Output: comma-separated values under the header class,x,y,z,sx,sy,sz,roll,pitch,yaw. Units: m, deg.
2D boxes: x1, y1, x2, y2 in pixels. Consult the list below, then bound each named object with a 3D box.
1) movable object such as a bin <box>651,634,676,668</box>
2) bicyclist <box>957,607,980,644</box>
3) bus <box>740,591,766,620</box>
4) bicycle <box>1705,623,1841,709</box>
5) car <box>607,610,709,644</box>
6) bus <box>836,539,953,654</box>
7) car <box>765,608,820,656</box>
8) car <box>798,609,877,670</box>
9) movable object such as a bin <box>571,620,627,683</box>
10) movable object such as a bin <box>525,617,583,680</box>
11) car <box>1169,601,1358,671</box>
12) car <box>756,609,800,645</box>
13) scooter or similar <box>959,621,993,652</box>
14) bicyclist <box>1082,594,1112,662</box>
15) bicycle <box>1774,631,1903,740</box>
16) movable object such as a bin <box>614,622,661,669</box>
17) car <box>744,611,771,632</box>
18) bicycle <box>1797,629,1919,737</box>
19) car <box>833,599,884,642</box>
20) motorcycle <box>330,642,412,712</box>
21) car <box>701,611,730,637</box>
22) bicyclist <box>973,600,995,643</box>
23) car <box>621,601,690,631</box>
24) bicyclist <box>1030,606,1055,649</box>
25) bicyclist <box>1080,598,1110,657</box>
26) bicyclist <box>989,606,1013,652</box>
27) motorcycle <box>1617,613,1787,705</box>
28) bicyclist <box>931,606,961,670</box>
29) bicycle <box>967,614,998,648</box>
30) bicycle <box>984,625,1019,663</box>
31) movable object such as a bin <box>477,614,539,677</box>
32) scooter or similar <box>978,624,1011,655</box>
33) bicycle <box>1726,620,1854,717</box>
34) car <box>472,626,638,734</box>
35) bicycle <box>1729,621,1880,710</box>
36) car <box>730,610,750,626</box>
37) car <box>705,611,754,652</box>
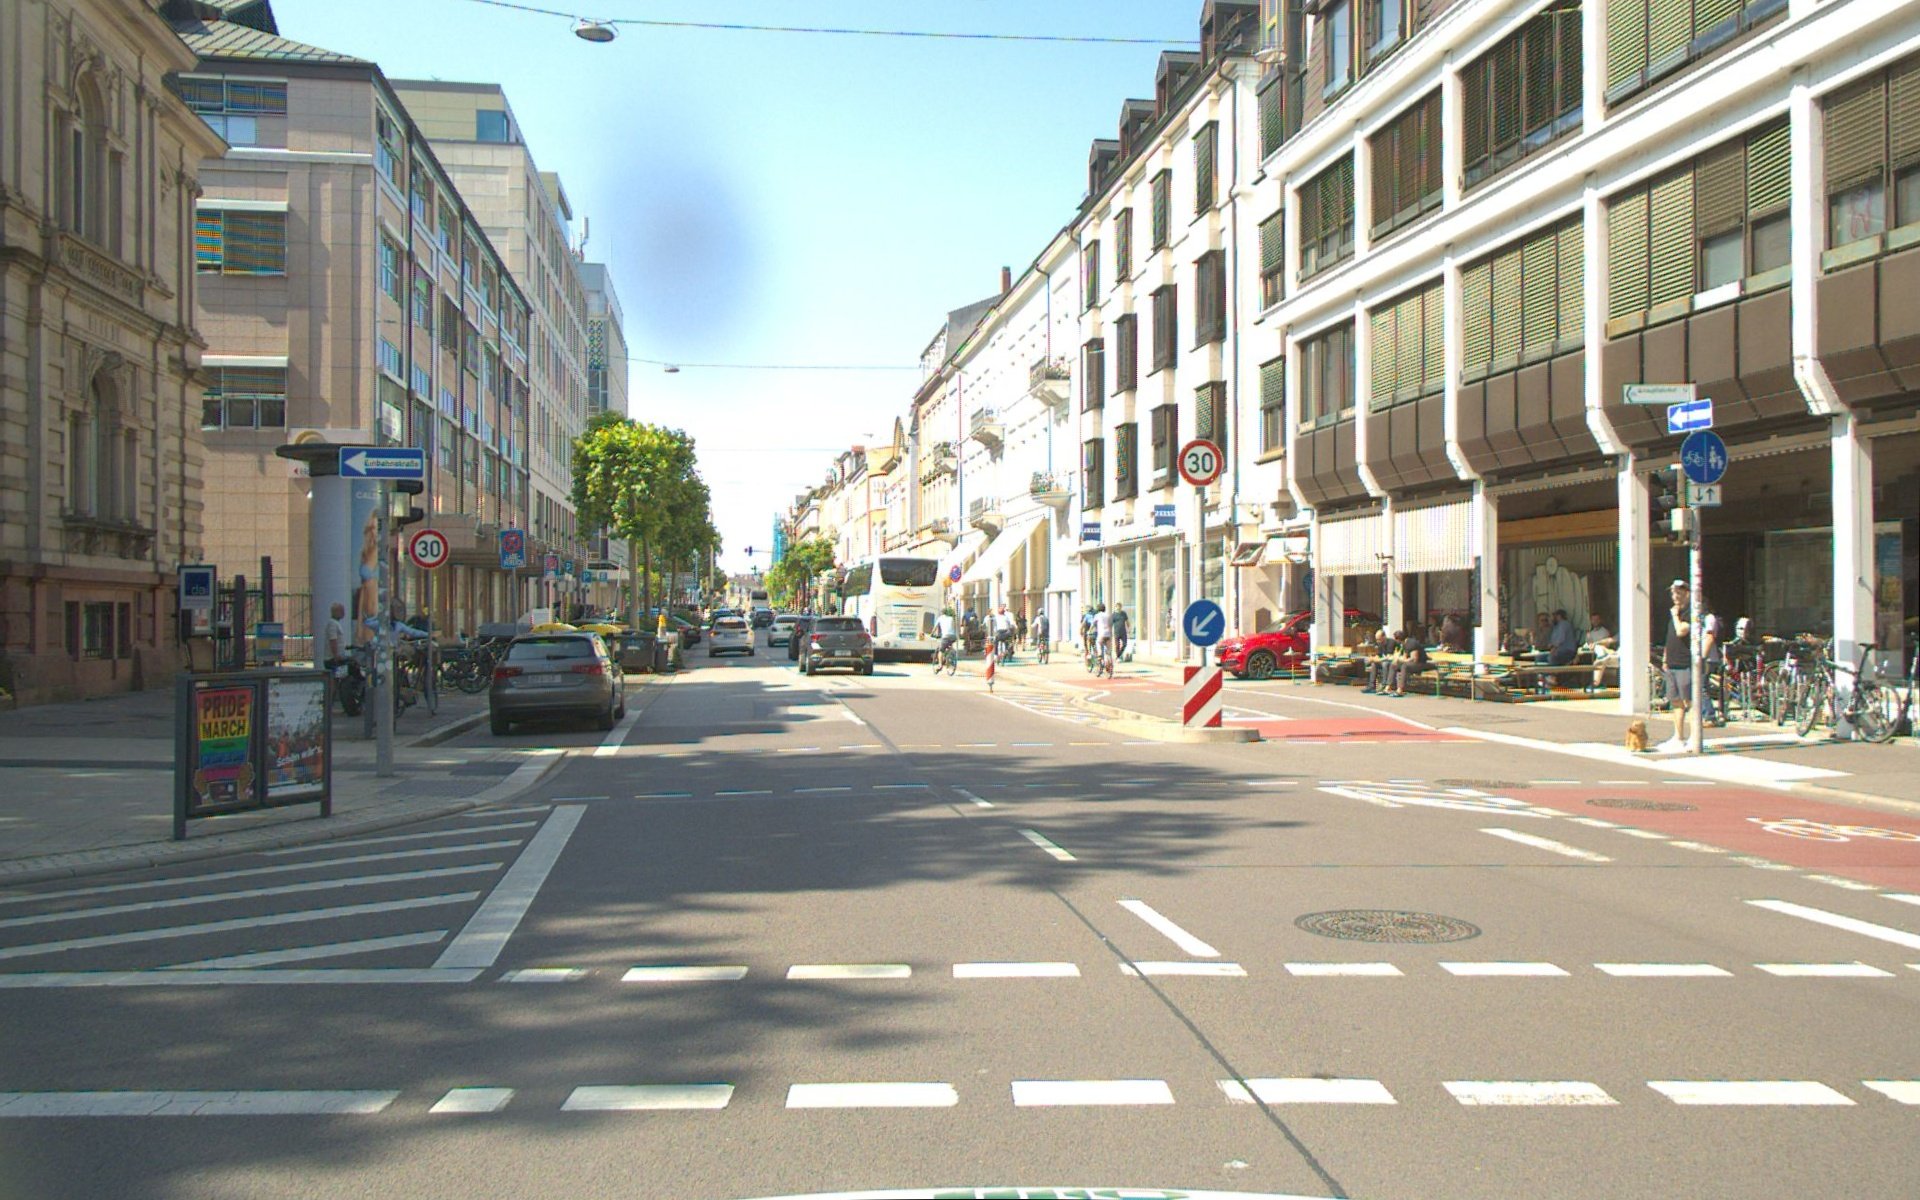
class,x,y,z,sx,sy,sz,roll,pitch,yaw
movable object such as a bin,-8.812,1.510,49.184,0.549,0.955,0.494,-2,1,-34
bicyclist,0.314,0.952,62.525,0.773,1.403,0.721,0,-1,-10
bus,-27.193,0.743,217.049,2.721,3.668,8.949,-1,0,-11
bicycle,11.160,0.891,22.681,2.204,1.116,0.276,0,0,-22
car,-14.324,1.253,78.345,4.695,1.447,1.878,1,0,32
bus,-2.652,-0.088,61.428,2.828,3.807,12.399,1,0,-9
car,-5.913,1.146,57.981,1.798,1.554,3.993,-2,-1,-7
car,-3.335,1.051,44.464,1.799,1.554,3.991,1,-1,-9
movable object such as a bin,-8.910,1.250,40.880,1.101,1.476,1.438,1,1,-3
movable object such as a bin,-10.014,1.189,40.819,1.101,1.476,1.438,1,1,-3
car,7.073,0.853,38.712,3.968,1.521,1.839,-1,-3,-7
car,-8.467,1.278,76.682,1.799,1.554,3.991,-2,-1,-9
scooter or similar,0.583,1.346,60.886,1.101,1.121,1.083,0,-1,-10
bicyclist,3.393,0.681,41.073,0.680,1.654,0.835,-1,-1,2
bicycle,10.127,0.948,19.143,0.271,1.140,2.243,-1,0,0
movable object such as a bin,-9.275,1.299,47.607,1.253,1.322,0.852,0,-1,-8
car,-15.265,1.616,124.535,1.828,1.466,3.992,-1,0,-9
bicycle,10.457,0.927,19.258,0.271,1.140,2.243,-1,0,0
car,-4.762,0.931,77.172,1.795,1.896,4.341,1,0,-12
motorcycle,-9.137,1.182,25.730,0.444,1.015,2.161,1,-1,1
car,-15.012,1.461,101.511,1.711,1.466,3.992,-1,0,-9
bicyclist,0.800,0.713,55.130,0.609,1.394,0.778,0,-1,-10
car,-19.422,0.998,105.576,3.904,1.595,1.701,4,-1,17
bicyclist,2.557,0.856,51.507,0.609,1.319,0.865,0,-1,-10
bicyclist,3.576,0.722,43.799,0.609,1.556,0.867,0,-1,-10
bicyclist,1.243,0.881,50.390,0.609,1.394,0.778,0,-1,-10
motorcycle,10.947,0.873,24.503,2.189,1.313,0.949,-2,-2,20
bicyclist,-0.385,1.040,45.422,0.681,1.702,0.914,2,0,-7
bicycle,0.740,1.016,55.318,0.609,1.118,2.347,0,-1,-10
bicycle,1.251,1.337,50.377,0.609,1.118,2.347,0,-1,-10
movable object such as a bin,-11.160,1.111,40.884,1.184,1.476,1.363,1,1,-3
scooter or similar,1.122,1.272,53.519,0.850,0.973,1.210,0,-1,-10
bicycle,10.692,0.881,21.312,1.514,1.228,0.277,0,0,-2
car,-6.006,1.137,24.994,1.900,1.378,4.243,-1,0,-7
bicycle,11.281,0.864,22.075,2.199,1.140,0.276,0,0,-16
car,-21.732,1.802,163.241,1.828,1.466,3.991,-2,-2,-9
car,-9.044,1.262,64.657,1.828,1.466,3.991,1,-3,-9
